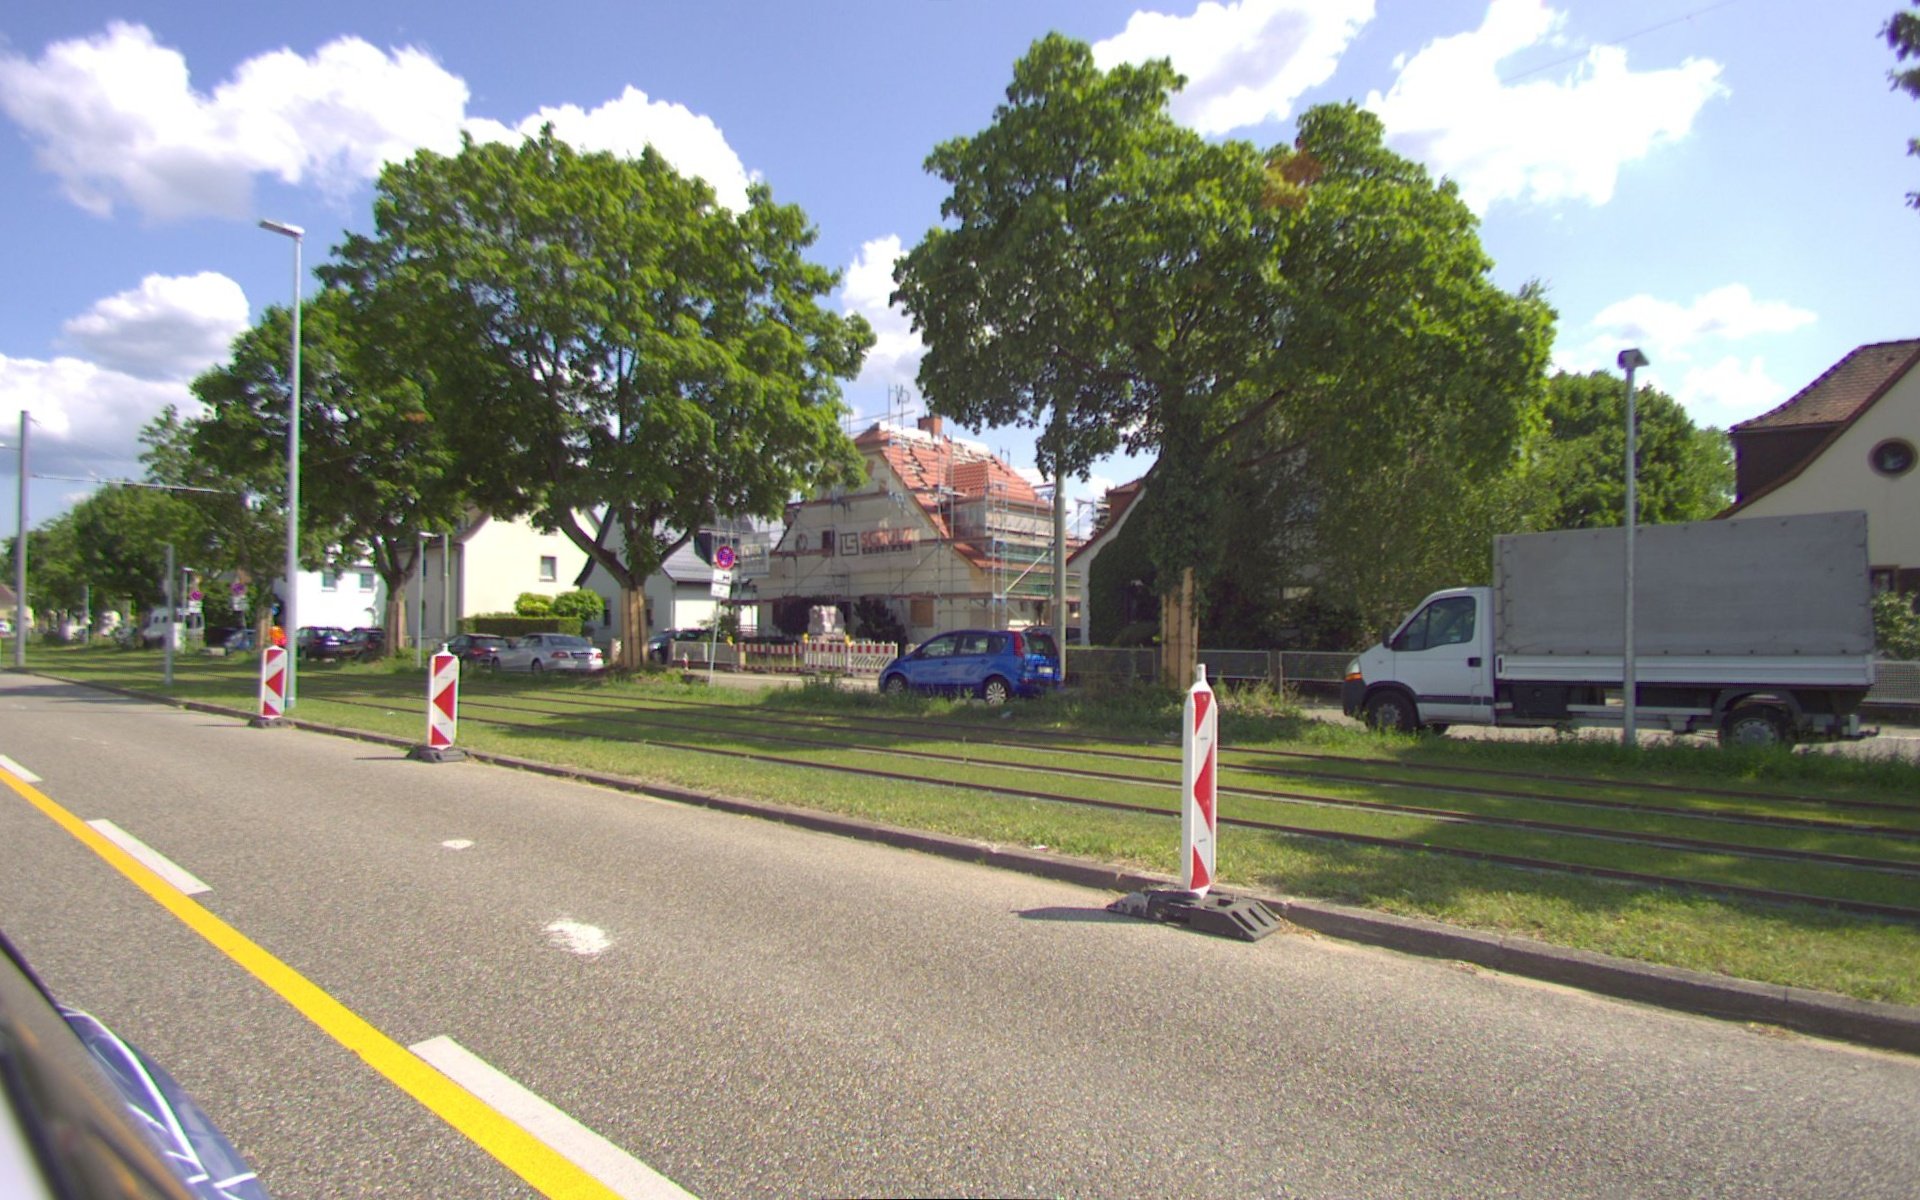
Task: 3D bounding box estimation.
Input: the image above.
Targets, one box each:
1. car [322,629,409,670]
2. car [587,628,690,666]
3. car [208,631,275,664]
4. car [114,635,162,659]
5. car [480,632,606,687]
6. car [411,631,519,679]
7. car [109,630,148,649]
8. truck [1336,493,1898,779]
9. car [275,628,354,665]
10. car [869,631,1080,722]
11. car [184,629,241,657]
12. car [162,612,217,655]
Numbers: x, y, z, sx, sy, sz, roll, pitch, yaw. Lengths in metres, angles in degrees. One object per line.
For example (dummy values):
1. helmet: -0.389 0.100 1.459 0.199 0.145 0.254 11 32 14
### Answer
1. car: -25.182 2.069 42.836 4.603 1.623 1.733 -2 -3 40
2. car: -14.081 2.042 44.517 1.756 1.623 3.995 -2 -3 41
3. car: -37.643 2.462 52.989 4.603 1.623 1.733 -2 -3 40
4. car: -57.021 3.258 70.160 4.603 1.623 1.733 -2 -3 40
5. car: -13.172 1.827 31.869 4.603 1.623 1.733 -2 -3 40
6. car: -17.613 1.911 35.940 4.603 1.623 1.733 -2 -3 40
7. car: -70.199 3.318 85.411 4.603 1.623 1.733 -2 -3 40
8. truck: 8.275 0.464 13.364 5.871 3.010 1.982 -2 -3 41
9. car: -29.601 2.093 46.340 4.603 1.623 1.733 -2 -3 40
10. car: 0.215 1.442 20.196 4.047 1.623 1.733 -2 -3 40
11. car: -44.643 2.545 60.414 4.603 1.623 1.733 -2 -3 40
12. car: -48.824 2.098 64.101 4.603 2.636 1.733 -2 -3 40
